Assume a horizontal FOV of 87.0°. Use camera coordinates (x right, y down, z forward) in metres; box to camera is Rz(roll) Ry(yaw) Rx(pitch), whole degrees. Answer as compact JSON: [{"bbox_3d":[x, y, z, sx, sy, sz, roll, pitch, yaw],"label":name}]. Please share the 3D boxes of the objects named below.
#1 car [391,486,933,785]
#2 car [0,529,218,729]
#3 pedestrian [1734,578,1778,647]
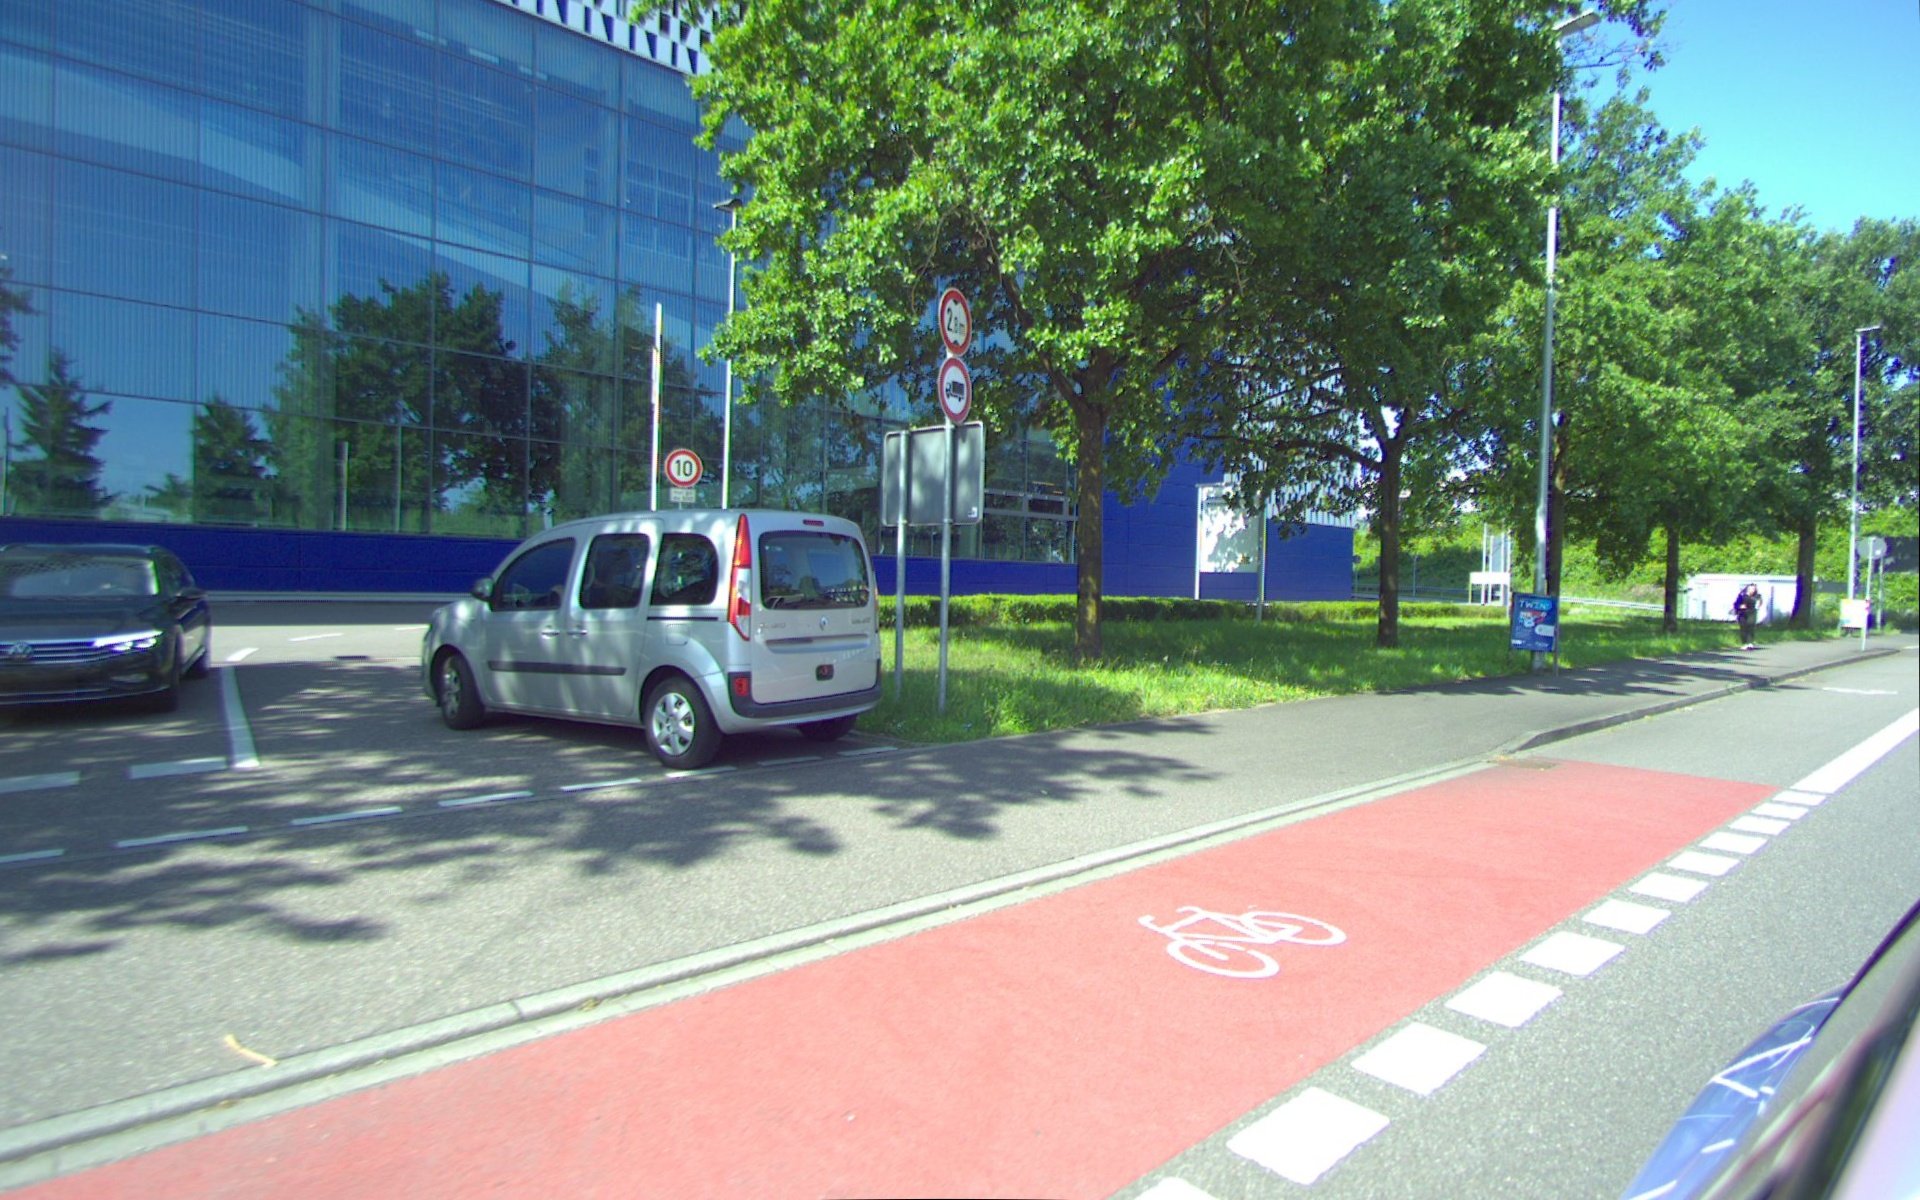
[{"bbox_3d":[-2.475,0.136,8.156,4.146,1.851,1.891,2,2,31],"label":"car"},{"bbox_3d":[-8.437,0.143,9.685,1.874,1.539,4.377,0,2,-33],"label":"car"},{"bbox_3d":[19.312,0.290,24.543,0.831,1.623,0.648,0,1,-40],"label":"pedestrian"}]
